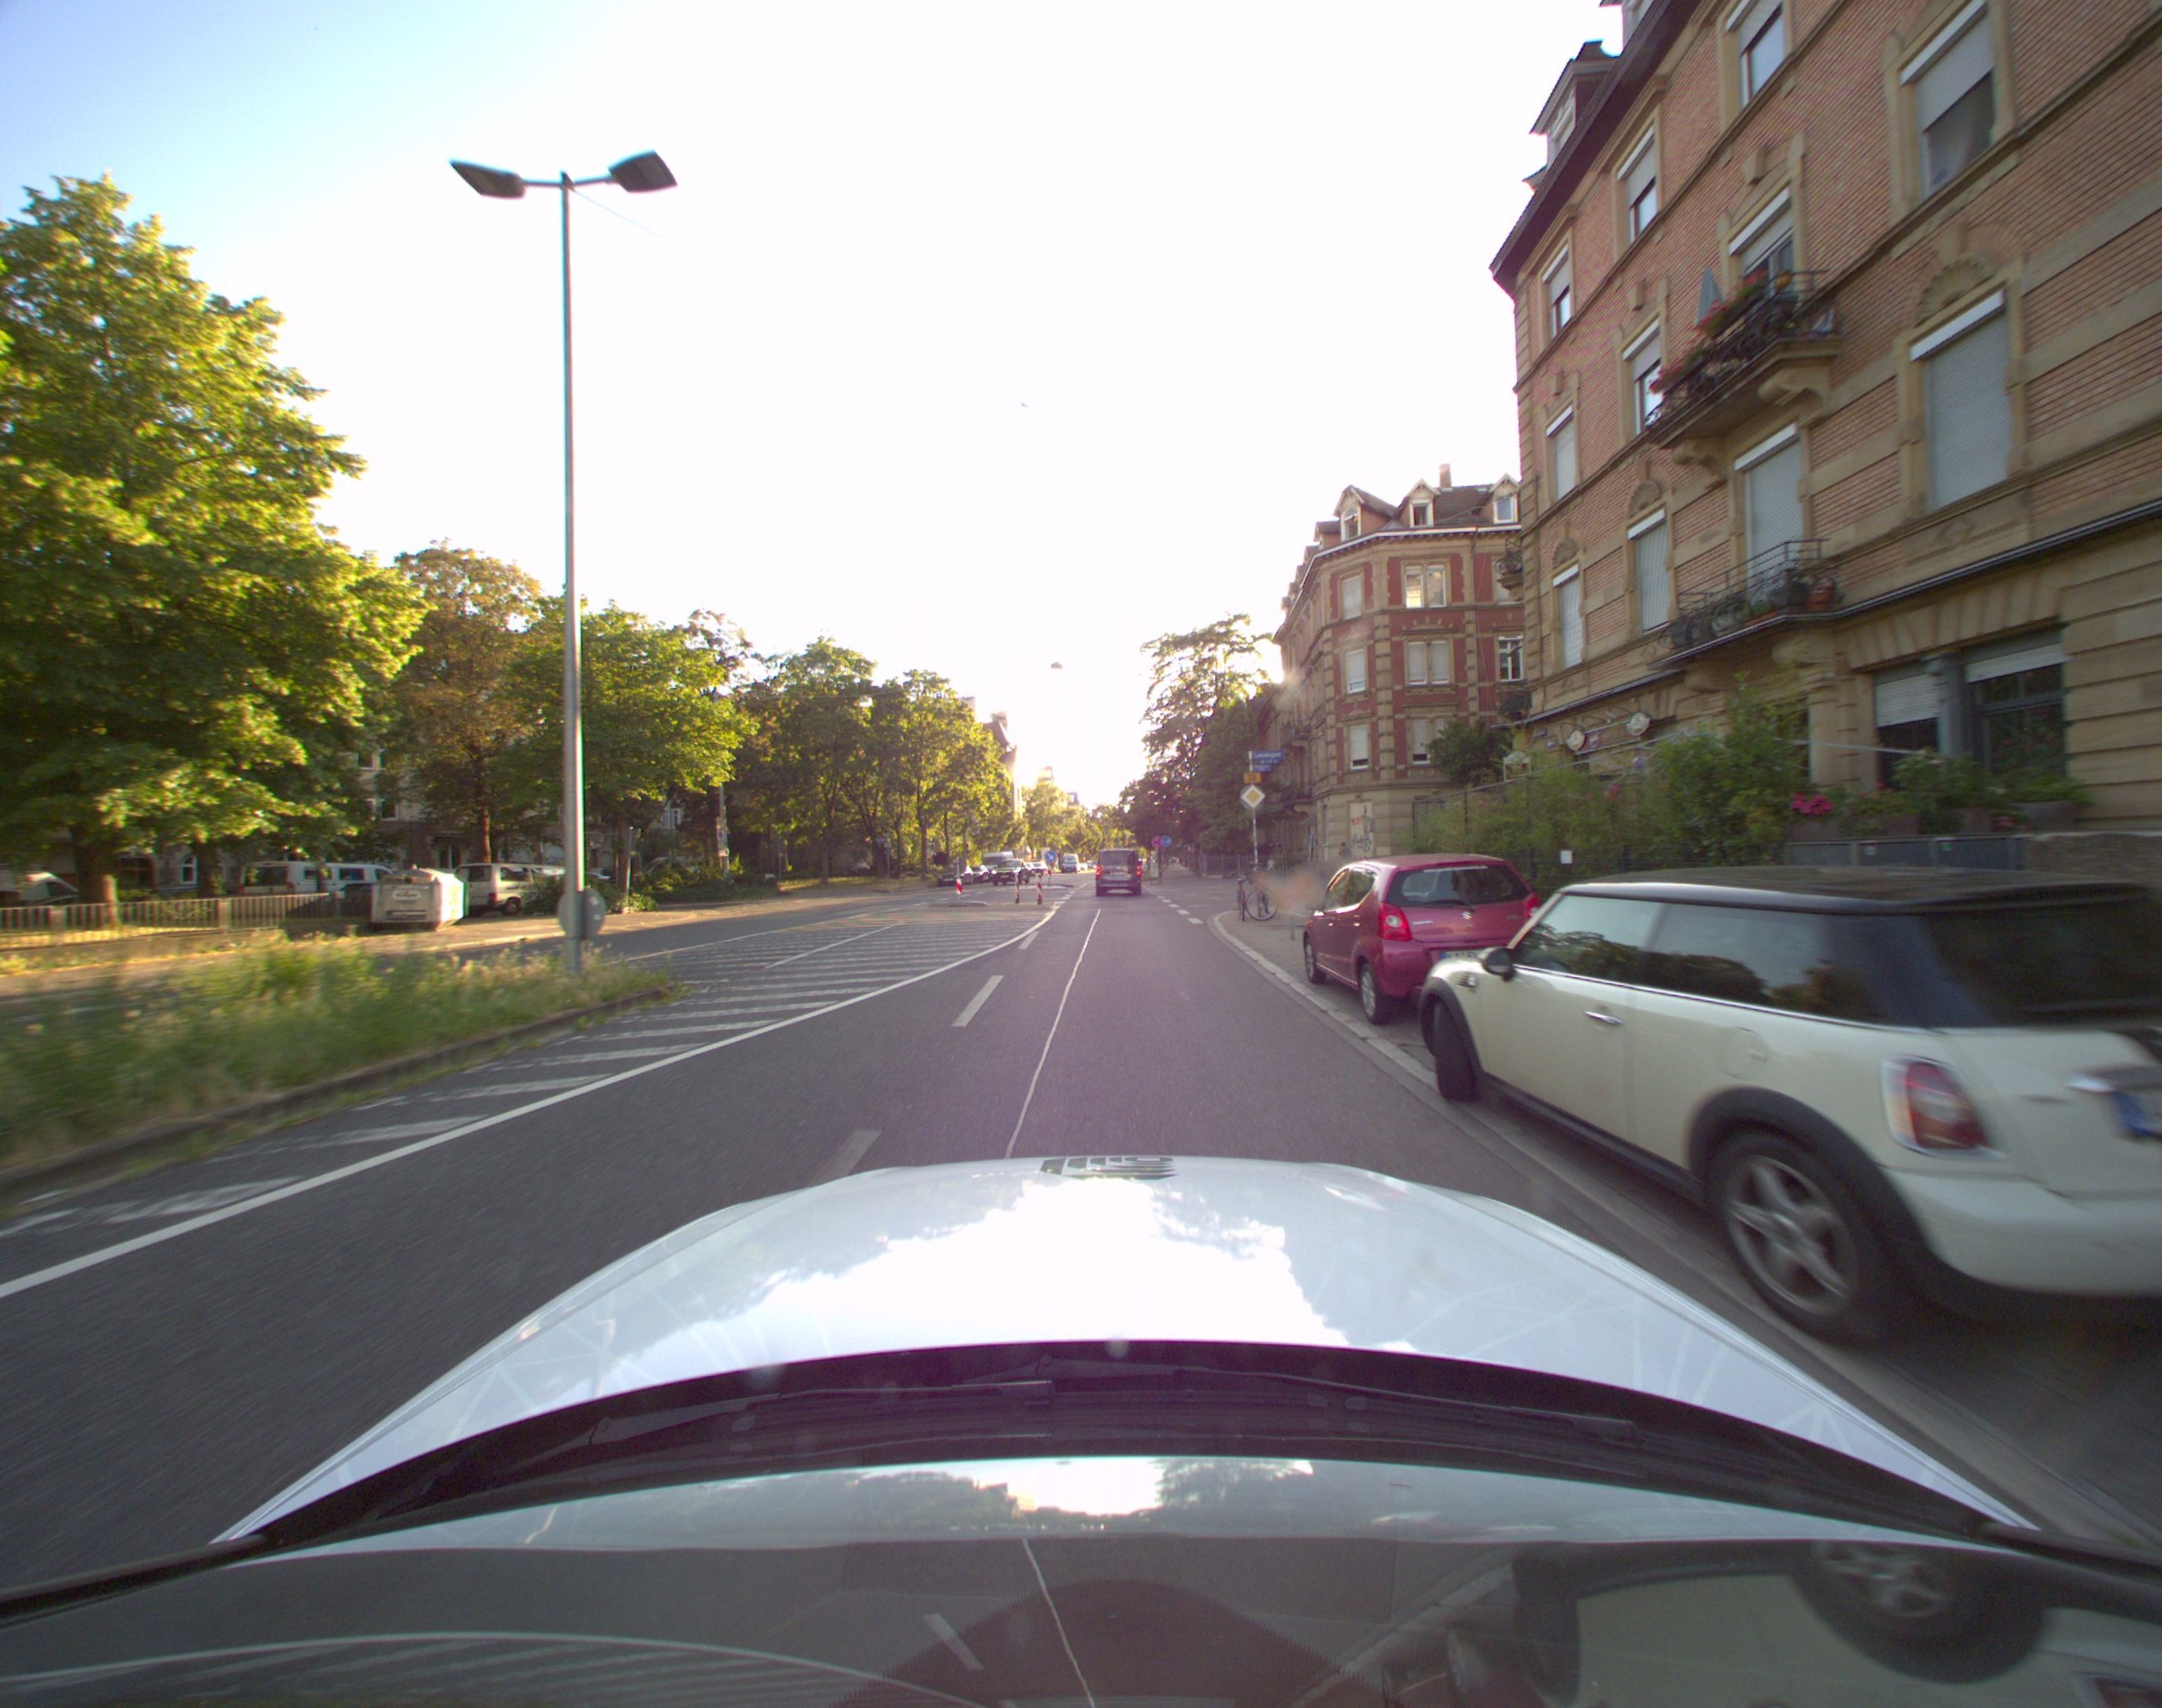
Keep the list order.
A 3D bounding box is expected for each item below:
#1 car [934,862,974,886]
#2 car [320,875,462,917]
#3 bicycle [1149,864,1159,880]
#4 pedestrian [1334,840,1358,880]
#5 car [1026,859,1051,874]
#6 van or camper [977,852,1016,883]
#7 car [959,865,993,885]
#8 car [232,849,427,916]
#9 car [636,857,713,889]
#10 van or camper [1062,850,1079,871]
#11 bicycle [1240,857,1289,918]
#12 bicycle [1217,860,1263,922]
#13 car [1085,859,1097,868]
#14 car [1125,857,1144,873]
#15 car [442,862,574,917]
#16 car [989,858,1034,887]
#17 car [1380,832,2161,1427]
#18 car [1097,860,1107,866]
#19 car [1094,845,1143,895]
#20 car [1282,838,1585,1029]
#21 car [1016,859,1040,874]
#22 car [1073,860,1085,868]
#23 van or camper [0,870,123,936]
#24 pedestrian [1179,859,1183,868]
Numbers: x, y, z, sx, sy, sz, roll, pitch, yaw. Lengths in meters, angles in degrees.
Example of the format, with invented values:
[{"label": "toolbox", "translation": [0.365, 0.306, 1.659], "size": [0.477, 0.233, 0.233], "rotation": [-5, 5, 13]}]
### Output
[{"label": "car", "translation": [-8.847, 1.389, 57.151], "size": [1.615, 1.506, 4.552], "rotation": [-2, 0, 6]}, {"label": "car", "translation": [-25.385, 1.495, 30.162], "size": [1.726, 1.332, 4.002], "rotation": [-1, 0, 2]}, {"label": "bicycle", "translation": [5.436, 1.301, 60.735], "size": [0.643, 1.167, 1.932], "rotation": [0, 0, 2]}, {"label": "pedestrian", "translation": [12.239, 0.268, 37.640], "size": [0.742, 1.778, 0.832], "rotation": [-5, -1, 2]}, {"label": "car", "translation": [-4.681, 1.355, 89.924], "size": [1.983, 1.483, 4.837], "rotation": [-2, 0, 6]}, {"label": "van or camper", "translation": [-7.231, 1.118, 70.393], "size": [2.081, 2.468, 6.315], "rotation": [-3, 0, 5]}, {"label": "car", "translation": [-8.048, 1.588, 62.934], "size": [1.620, 1.429, 4.248], "rotation": [-3, 0, 5]}, {"label": "car", "translation": [-27.965, 0.989, 30.613], "size": [2.202, 2.289, 5.110], "rotation": [-1, 0, 8]}, {"label": "car", "translation": [-33.763, 1.548, 67.737], "size": [2.244, 2.485, 5.267], "rotation": [-2, 0, 40]}, {"label": "van or camper", "translation": [-1.414, 0.858, 110.396], "size": [1.986, 2.669, 6.041], "rotation": [0, 0, 2]}, {"label": "bicycle", "translation": [4.218, 0.759, 18.857], "size": [0.563, 1.275, 2.265], "rotation": [-5, -2, 2]}, {"label": "bicycle", "translation": [3.645, 0.833, 18.858], "size": [0.563, 1.299, 2.265], "rotation": [-5, -2, 2]}, {"label": "car", "translation": [1.704, 1.657, 139.374], "size": [1.688, 1.451, 4.006], "rotation": [0, 0, 5]}, {"label": "car", "translation": [5.937, 1.166, 90.029], "size": [1.984, 1.634, 4.005], "rotation": [-2, 0, 5]}, {"label": "car", "translation": [-20.581, 1.215, 29.476], "size": [1.811, 1.795, 4.002], "rotation": [-1, 0, 2]}, {"label": "car", "translation": [-4.515, 1.179, 53.570], "size": [1.866, 1.706, 4.577], "rotation": [-4, -1, 8]}, {"label": "car", "translation": [3.013, 0.713, 3.967], "size": [1.671, 1.426, 3.676], "rotation": [-5, 0, 0]}, {"label": "car", "translation": [5.013, 2.096, 191.041], "size": [1.983, 1.414, 4.244], "rotation": [0, 0, 6]}, {"label": "car", "translation": [1.565, 0.642, 34.186], "size": [1.880, 1.925, 3.841], "rotation": [-2, 0, 2]}, {"label": "car", "translation": [3.383, 0.675, 8.601], "size": [1.719, 1.465, 3.549], "rotation": [-5, 0, 3]}, {"label": "car", "translation": [-5.405, 1.285, 83.414], "size": [1.727, 1.445, 4.632], "rotation": [-2, 0, 6]}, {"label": "car", "translation": [-0.294, 1.555, 124.902], "size": [1.528, 1.248, 3.619], "rotation": [0, 0, 5]}, {"label": "van or camper", "translation": [-42.399, 1.945, 32.323], "size": [2.056, 2.471, 5.434], "rotation": [-1, 0, 5]}, {"label": "pedestrian", "translation": [18.696, 1.727, 152.084], "size": [0.641, 1.633, 0.657], "rotation": [0, -1, 6]}]
